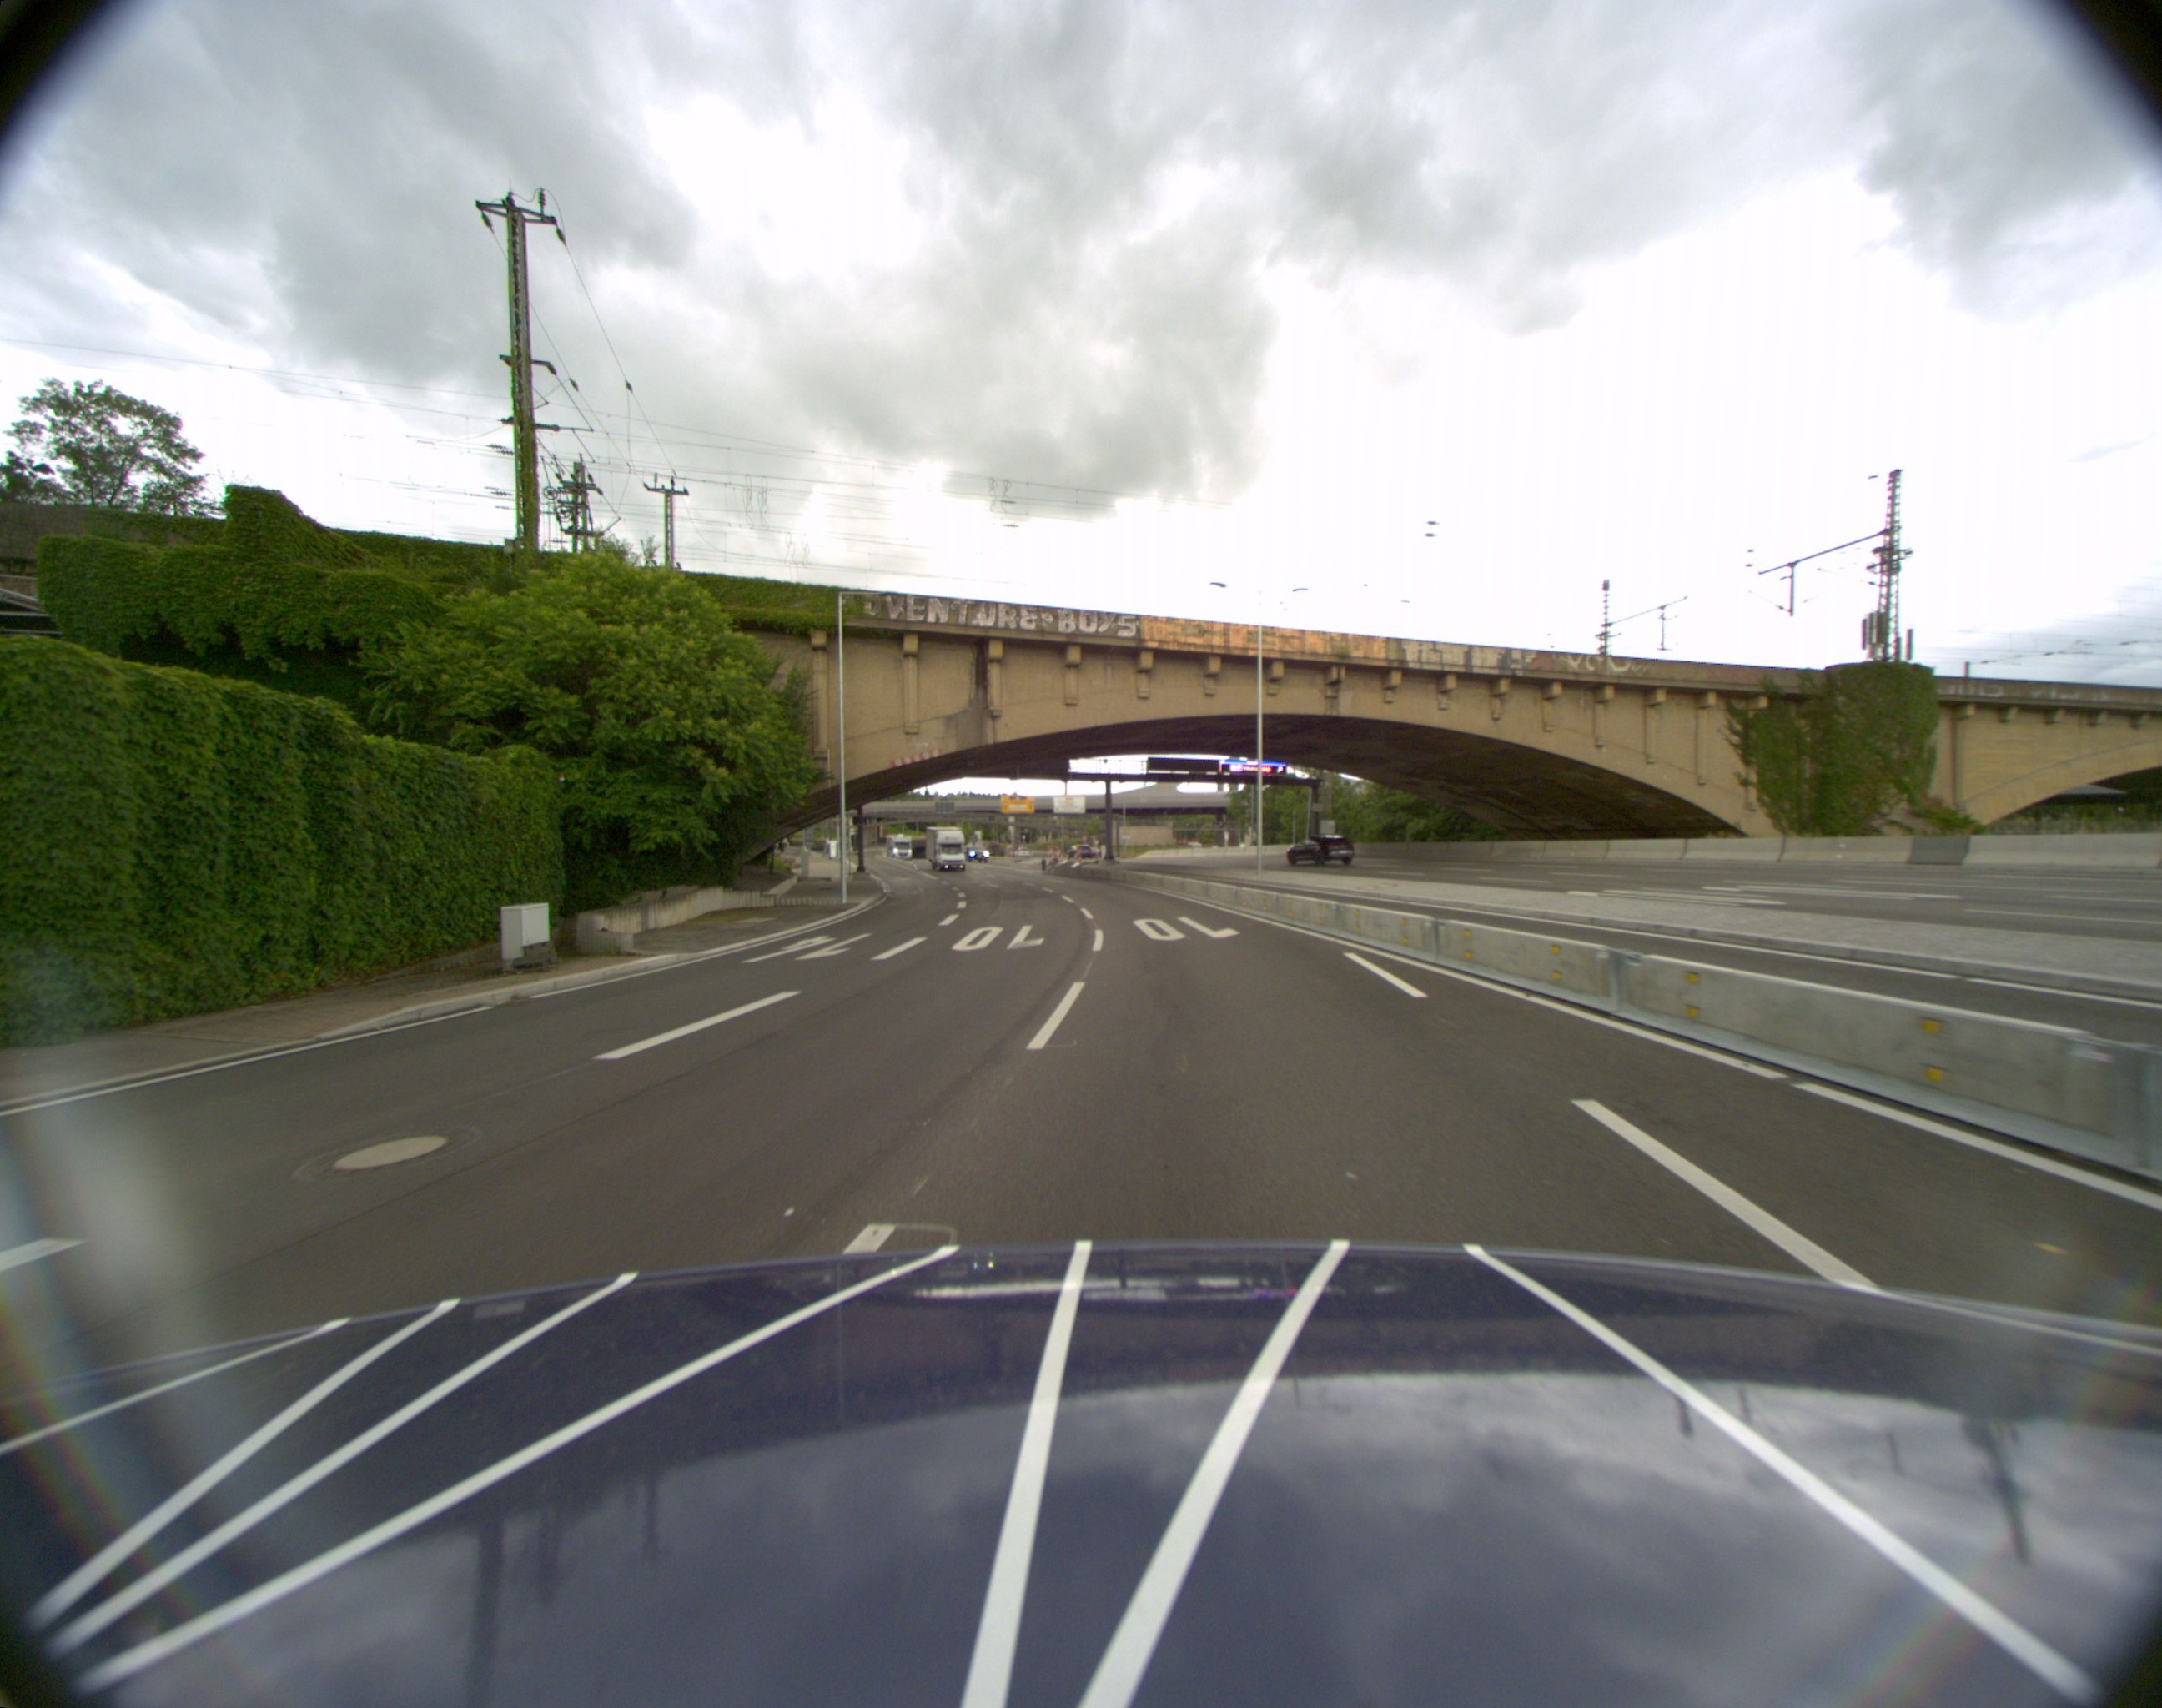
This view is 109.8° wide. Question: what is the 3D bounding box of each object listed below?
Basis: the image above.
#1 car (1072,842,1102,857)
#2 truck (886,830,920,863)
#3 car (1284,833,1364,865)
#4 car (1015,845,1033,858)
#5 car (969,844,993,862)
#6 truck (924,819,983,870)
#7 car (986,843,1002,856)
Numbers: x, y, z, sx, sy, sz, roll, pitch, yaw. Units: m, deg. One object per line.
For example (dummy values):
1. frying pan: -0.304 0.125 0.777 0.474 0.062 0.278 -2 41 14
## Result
1. car: 0.584 -0.480 79.701 1.824 1.528 4.394 -3 1 -17
2. truck: -20.865 -0.854 88.698 2.578 3.548 9.098 -2 1 -21
3. car: 12.771 -0.224 40.158 2.001 1.575 4.130 -2 0 -17
4. car: -8.398 -0.351 110.987 2.000 1.762 3.995 -2 1 -12
5. car: -10.635 -0.127 80.391 1.870 1.827 4.199 -2 1 -17
6. truck: -10.353 -0.694 60.693 3.036 3.567 8.936 -5 1 -19
7. car: -18.834 -0.990 164.130 2.298 2.476 6.186 -3 1 -16
